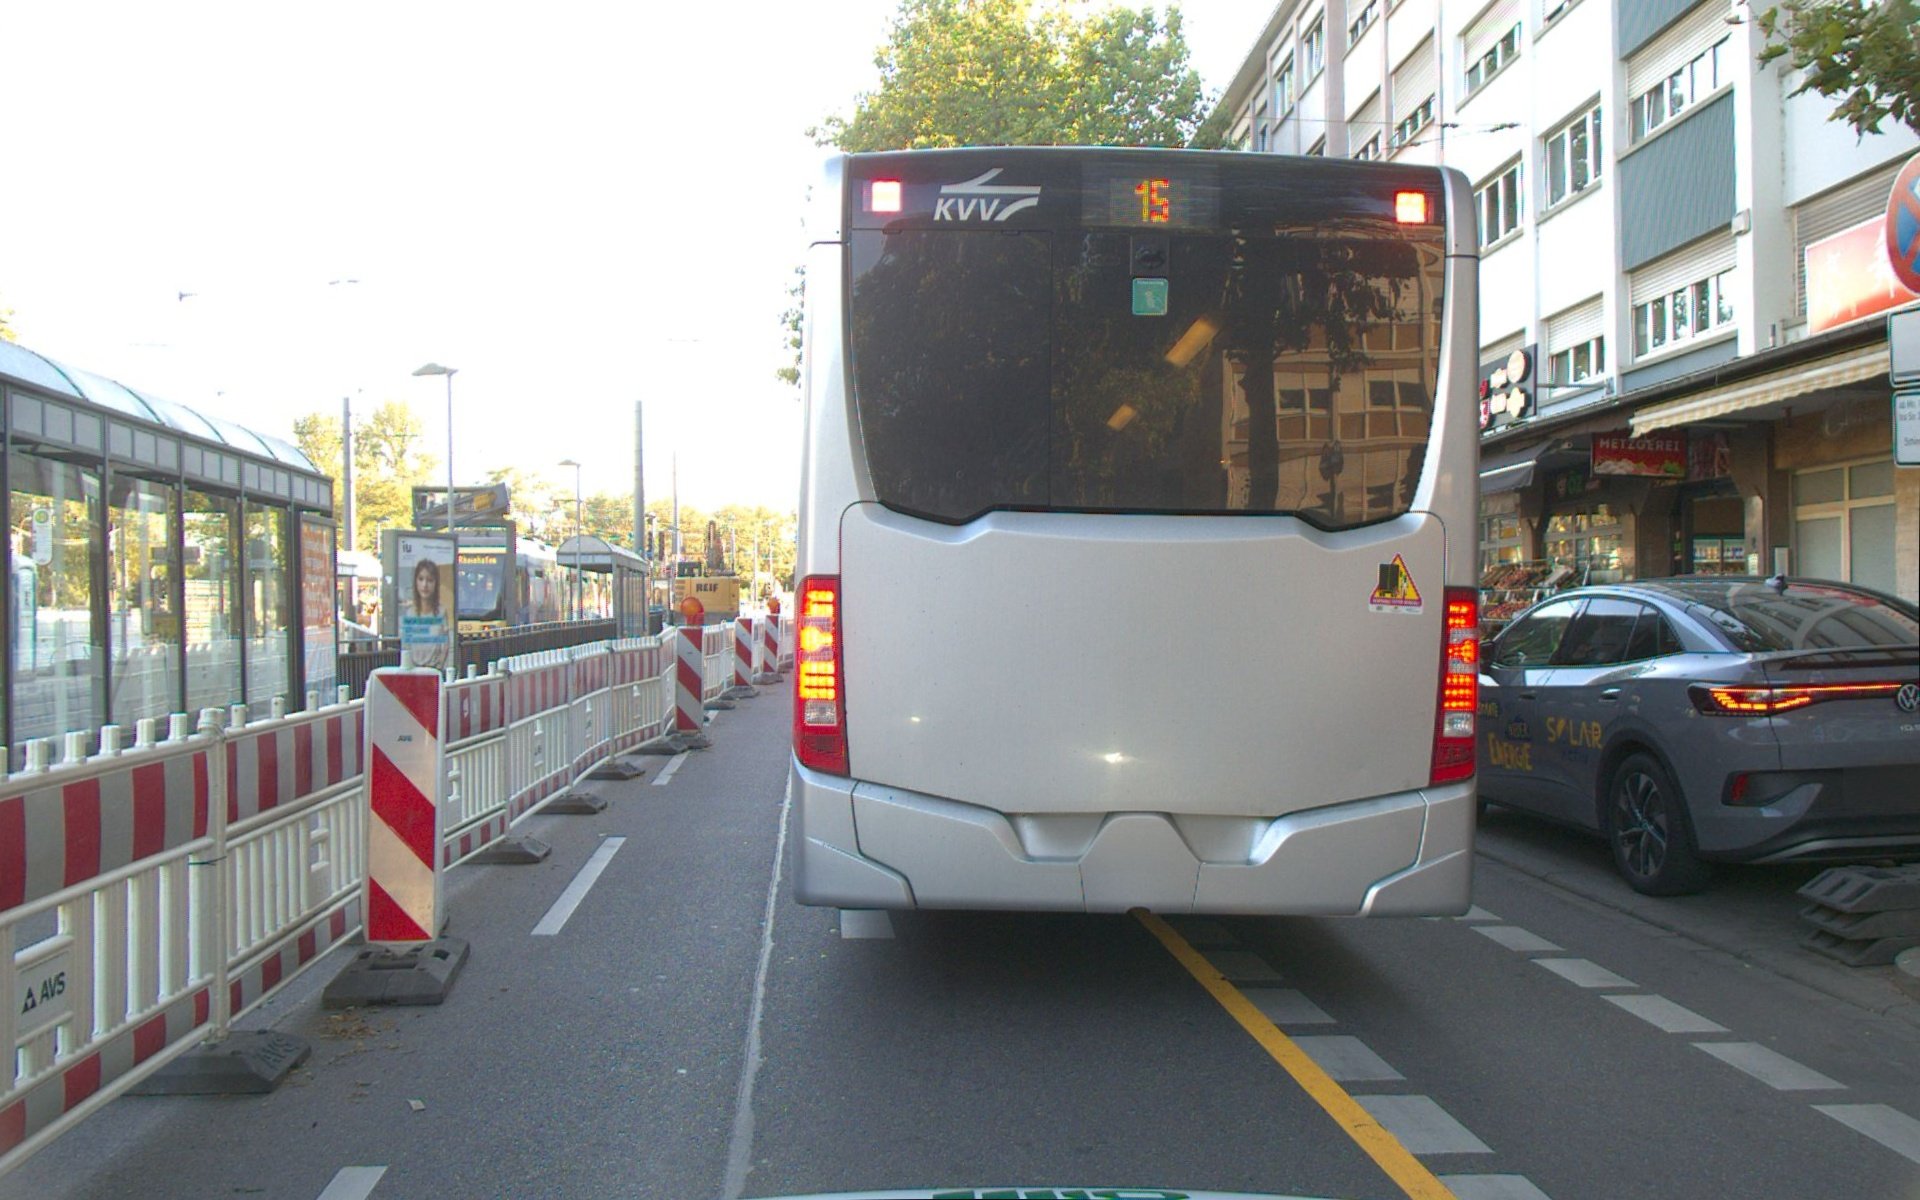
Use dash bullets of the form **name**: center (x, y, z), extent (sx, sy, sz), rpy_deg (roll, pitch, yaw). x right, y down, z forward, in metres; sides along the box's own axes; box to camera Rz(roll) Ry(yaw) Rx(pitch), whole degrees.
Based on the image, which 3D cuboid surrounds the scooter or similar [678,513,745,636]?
- **scooter or similar**: center (-9.637, -0.947, 64.384), extent (2.422, 4.549, 5.962), rpy_deg (-1, 0, -8)

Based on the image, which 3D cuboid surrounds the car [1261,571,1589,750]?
- **car**: center (4.856, 0.561, 17.990), extent (1.955, 1.609, 4.363), rpy_deg (-3, 1, -5)

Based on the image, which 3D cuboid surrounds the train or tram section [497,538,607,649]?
- **train or tram section**: center (-14.682, -0.192, 60.363), extent (2.636, 3.621, 11.560), rpy_deg (1, 0, -8)

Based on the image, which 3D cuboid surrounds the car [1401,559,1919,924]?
- **car**: center (4.373, 0.618, 9.829), extent (1.955, 1.609, 4.363), rpy_deg (-3, 1, -5)

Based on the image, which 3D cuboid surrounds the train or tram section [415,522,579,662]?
- **train or tram section**: center (-13.352, -0.191, 48.755), extent (2.635, 3.595, 11.756), rpy_deg (1, 0, -6)

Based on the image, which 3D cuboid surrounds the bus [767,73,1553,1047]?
- **bus**: center (0.621, -0.118, 9.491), extent (2.558, 3.181, 7.991), rpy_deg (1, 0, -1)

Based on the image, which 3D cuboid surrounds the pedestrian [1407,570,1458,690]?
- **pedestrian**: center (6.863, 0.432, 24.041), extent (0.649, 1.696, 0.601), rpy_deg (-2, -1, 15)

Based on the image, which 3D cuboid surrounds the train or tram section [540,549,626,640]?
- **train or tram section**: center (-16.237, -0.210, 71.854), extent (2.636, 3.594, 11.560), rpy_deg (1, 0, -8)
